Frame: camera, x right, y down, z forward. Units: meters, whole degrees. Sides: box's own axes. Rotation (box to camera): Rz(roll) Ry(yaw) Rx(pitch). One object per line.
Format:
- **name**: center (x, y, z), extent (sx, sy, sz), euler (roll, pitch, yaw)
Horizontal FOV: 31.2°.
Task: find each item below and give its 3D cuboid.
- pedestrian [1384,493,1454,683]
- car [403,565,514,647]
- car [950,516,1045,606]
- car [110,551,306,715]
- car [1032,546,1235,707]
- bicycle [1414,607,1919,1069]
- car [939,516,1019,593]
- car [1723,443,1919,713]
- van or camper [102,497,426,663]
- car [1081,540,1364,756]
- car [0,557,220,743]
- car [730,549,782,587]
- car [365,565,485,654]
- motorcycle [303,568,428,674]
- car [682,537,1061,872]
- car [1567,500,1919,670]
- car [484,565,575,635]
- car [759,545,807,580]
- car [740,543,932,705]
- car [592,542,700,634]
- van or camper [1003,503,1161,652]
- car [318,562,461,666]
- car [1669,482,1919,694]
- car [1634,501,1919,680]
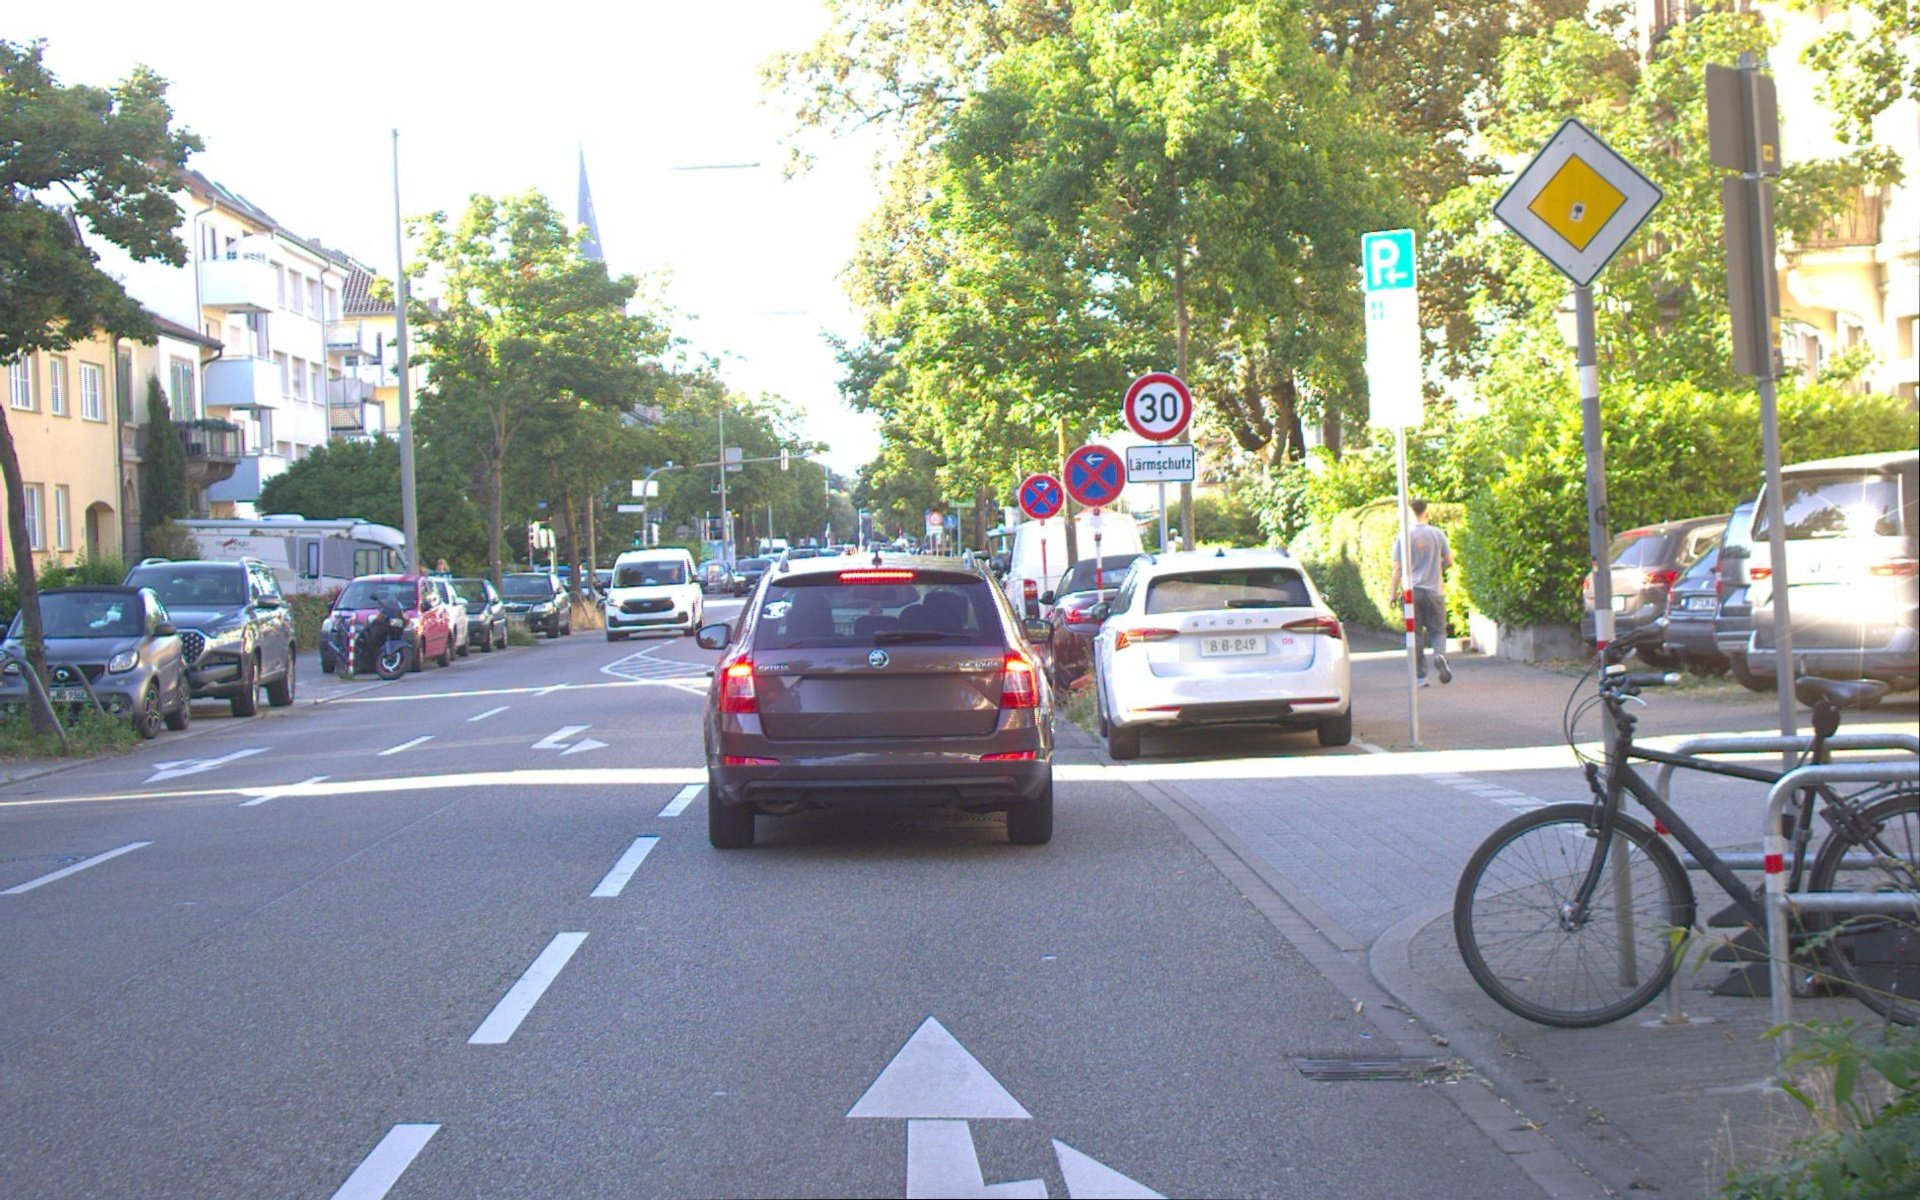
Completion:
- **pedestrian**: center (4.405, -0.118, 32.995), extent (0.535, 1.788, 0.687), euler (-2, 1, 1)
- **car**: center (-9.580, 0.093, 65.859), extent (1.664, 1.427, 3.275), euler (-2, 1, -1)
- **car**: center (0.770, -0.853, 73.063), extent (1.729, 1.809, 3.951), euler (-2, 1, -3)
- **car**: center (-8.768, 0.342, 40.336), extent (1.507, 1.751, 3.694), euler (-2, 1, -1)
- **car**: center (1.671, 0.220, 34.267), extent (1.821, 1.408, 4.111), euler (-2, 1, 1)
- **bicycle**: center (2.242, 0.685, 10.130), extent (1.671, 1.222, 0.635), euler (-4, 1, 12)
- **car**: center (0.458, -1.152, 85.550), extent (1.729, 1.809, 3.951), euler (-2, 1, -3)
- **car**: center (8.173, -0.251, 25.909), extent (4.533, 1.886, 1.915), euler (-3, 1, -28)
- **van or camper**: center (-17.504, -0.528, 86.747), extent (7.639, 3.861, 2.000), euler (-2, 1, -3)
- **car**: center (1.891, 0.297, 25.884), extent (1.821, 1.408, 4.111), euler (-2, 1, 1)
- **car**: center (-8.941, 0.474, 35.668), extent (1.750, 1.734, 3.591), euler (-2, 1, -1)
- **car**: center (-8.593, -1.356, 144.850), extent (1.993, 1.503, 4.000), euler (-2, 1, -1)
- **car**: center (-9.511, 0.148, 61.315), extent (1.664, 1.427, 3.275), euler (-2, 1, -1)
- **motorcycle**: center (-8.781, 0.306, 50.709), extent (0.764, 1.506, 2.029), euler (-3, 2, -43)
- **car**: center (-0.434, 0.452, 18.104), extent (1.729, 1.488, 3.951), euler (-2, 1, 0)
- **car**: center (8.067, -0.178, 34.032), extent (3.799, 1.520, 1.512), euler (-3, 1, -23)
- **car**: center (-9.638, -0.014, 77.132), extent (1.664, 1.427, 3.275), euler (-2, 1, -1)
- **car**: center (-8.132, -1.725, 158.200), extent (1.993, 1.503, 4.000), euler (-2, 1, -1)
- **car**: center (-1.330, 0.198, 35.444), extent (1.729, 1.488, 3.951), euler (-2, 1, -5)
- **car**: center (-6.460, -0.281, 71.101), extent (1.876, 1.751, 4.179), euler (-2, 1, -1)
- **van or camper**: center (1.719, -0.362, 49.779), extent (1.993, 2.007, 4.000), euler (-2, 1, -1)
- **car**: center (-9.182, 0.198, 55.629), extent (1.664, 1.506, 4.179), euler (-2, 1, -1)
- **car**: center (8.019, -0.160, 29.292), extent (3.800, 1.673, 1.512), euler (-3, 2, -30)
- **car**: center (8.319, -0.134, 31.913), extent (3.799, 1.520, 1.512), euler (-3, 1, -23)
